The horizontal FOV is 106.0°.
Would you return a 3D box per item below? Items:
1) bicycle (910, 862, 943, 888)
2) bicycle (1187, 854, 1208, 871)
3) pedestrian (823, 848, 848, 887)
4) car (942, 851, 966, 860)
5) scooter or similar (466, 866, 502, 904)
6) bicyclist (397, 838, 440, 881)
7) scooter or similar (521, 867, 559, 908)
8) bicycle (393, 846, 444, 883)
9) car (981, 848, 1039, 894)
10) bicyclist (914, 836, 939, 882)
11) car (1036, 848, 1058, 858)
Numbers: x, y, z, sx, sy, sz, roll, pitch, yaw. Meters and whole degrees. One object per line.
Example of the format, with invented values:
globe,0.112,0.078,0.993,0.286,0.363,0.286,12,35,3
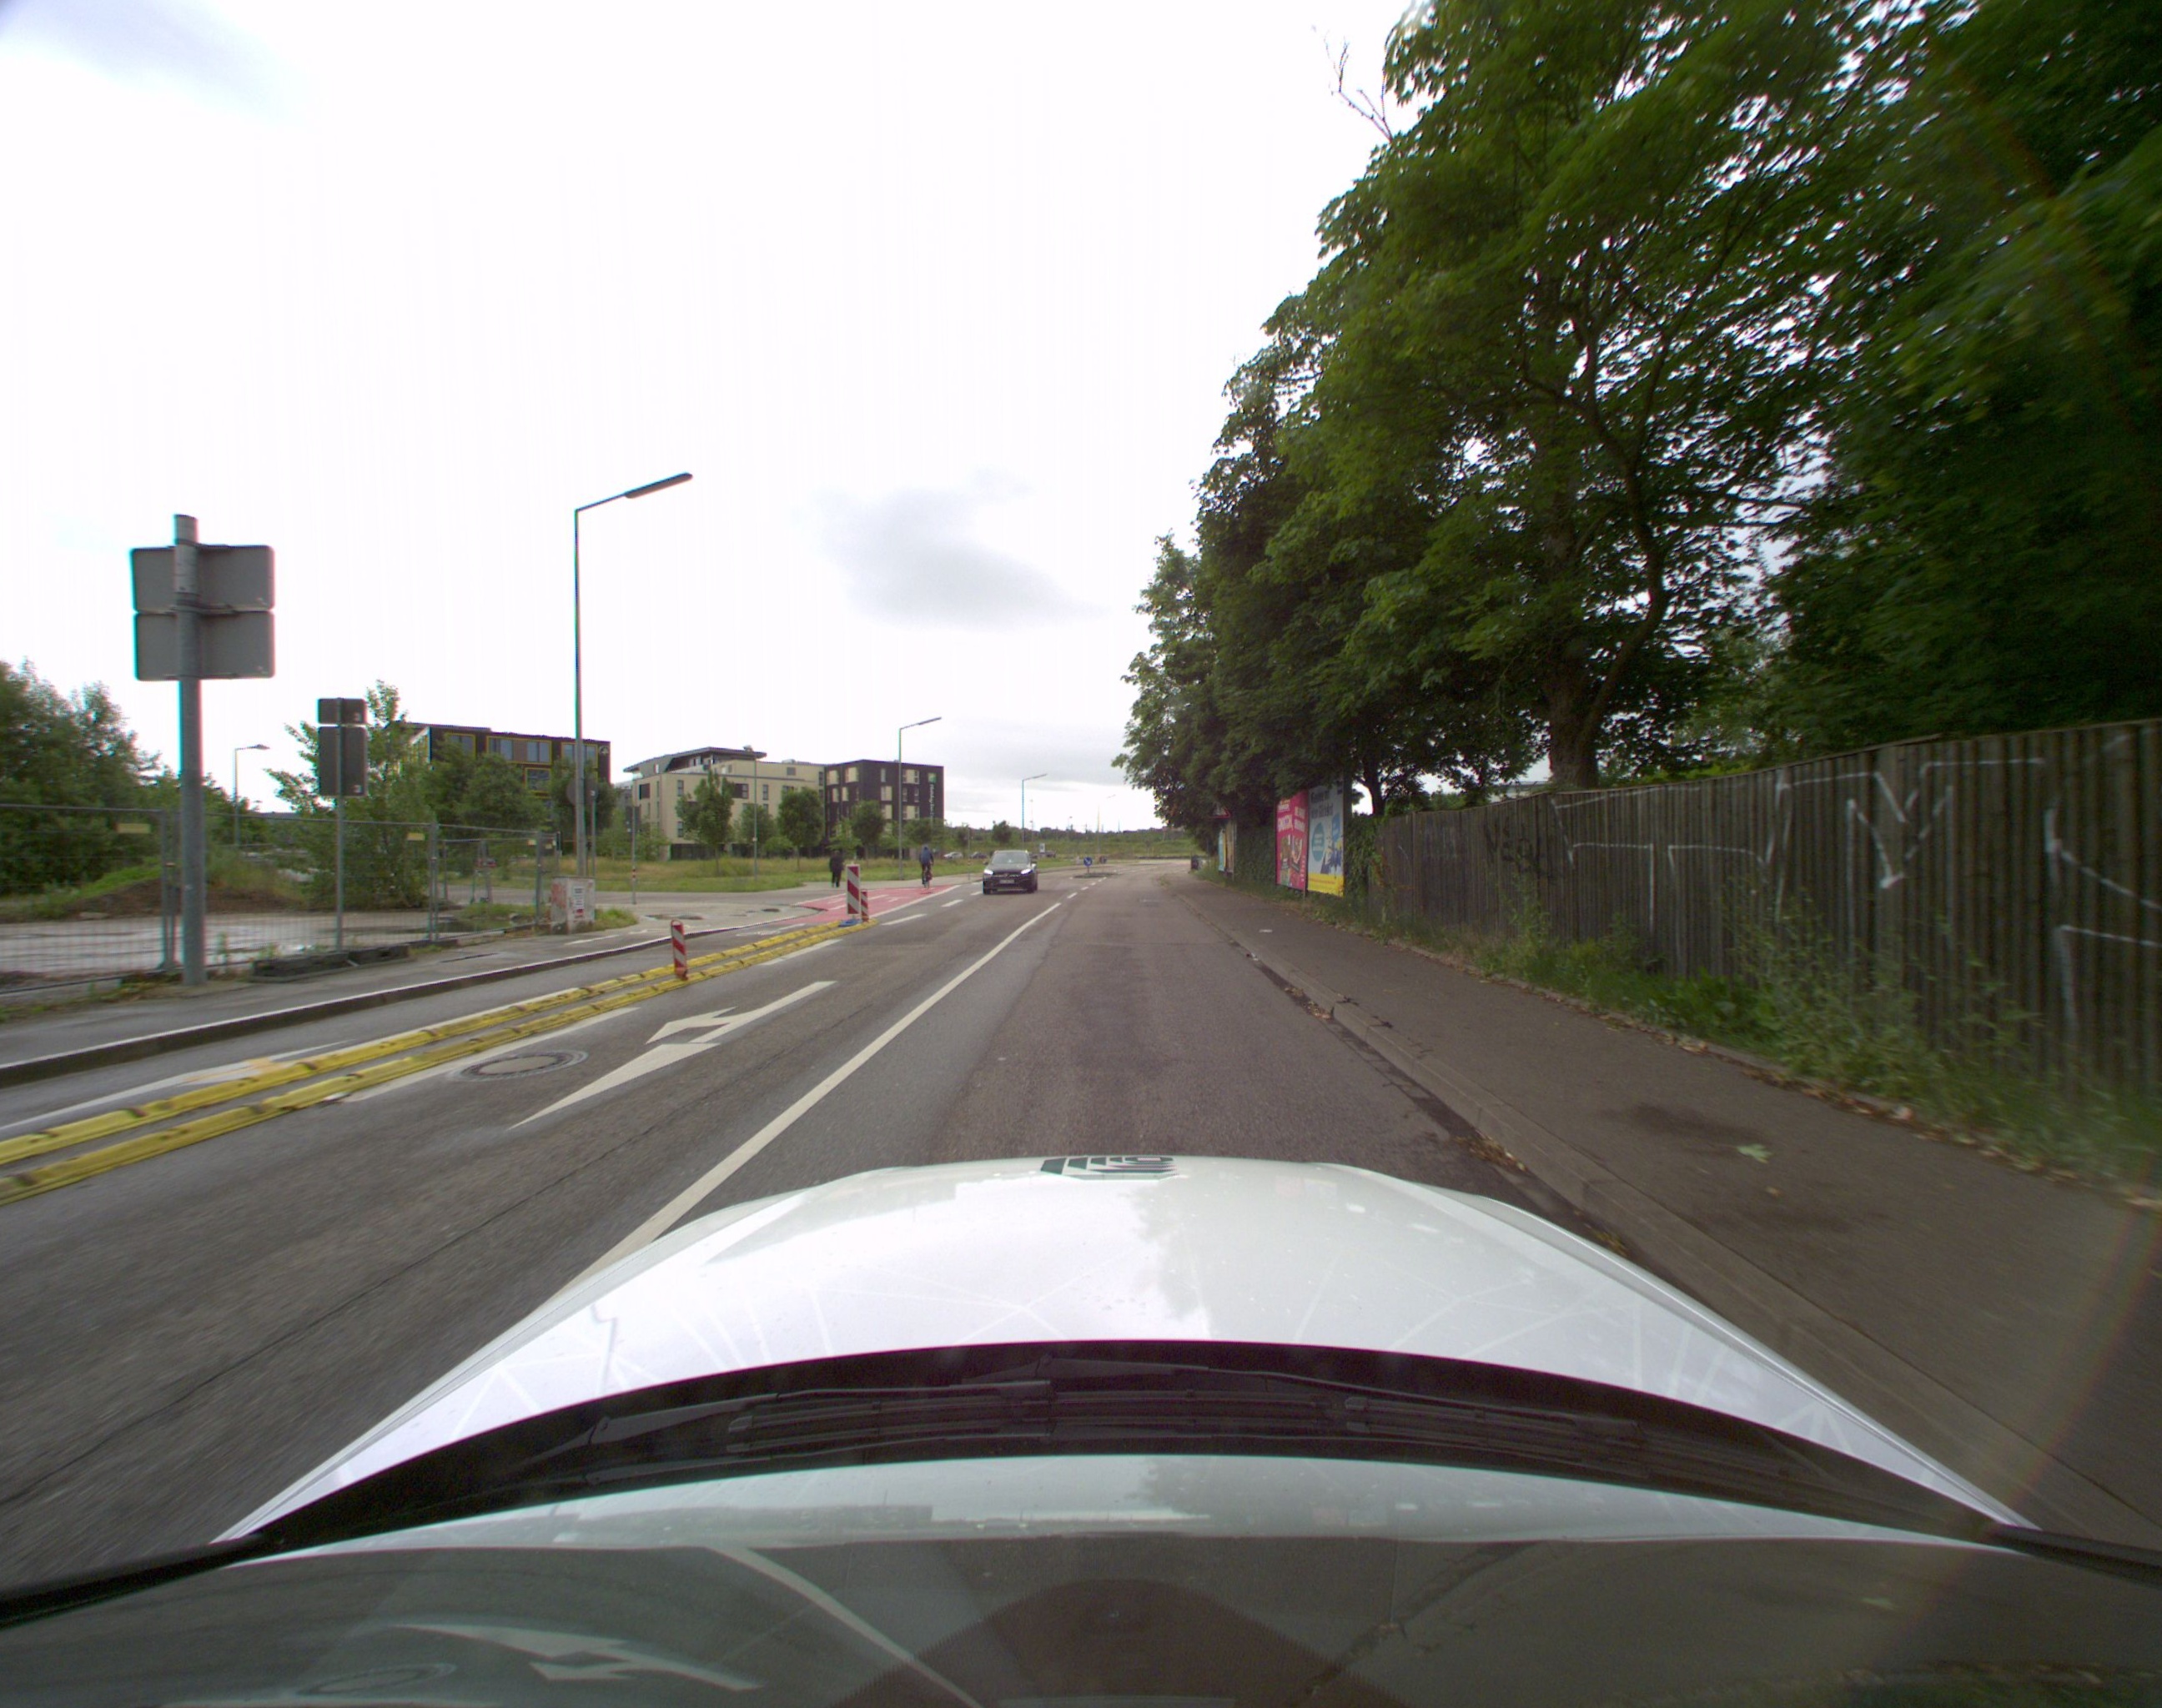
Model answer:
bicycle,-6.929,0.937,36.696,0.880,1.052,2.471,-1,1,2
bicycle,7.683,0.555,53.496,0.788,1.111,1.964,-1,0,26
pedestrian,-11.542,0.626,38.363,0.841,1.782,1.077,-1,1,-1
car,-24.229,0.265,155.417,1.974,1.517,4.180,0,1,36
scooter or similar,-18.208,0.934,24.843,1.321,1.142,0.414,0,-1,33
bicyclist,-29.729,0.236,36.547,1.384,1.899,1.084,0,1,34
scooter or similar,-15.772,0.952,23.727,0.660,1.142,1.880,1,0,-42
bicycle,-29.753,0.454,36.578,2.468,1.584,1.094,0,1,35
car,-2.586,0.579,30.751,1.875,1.566,4.356,-1,1,-1
bicyclist,-6.943,0.204,36.626,0.858,2.013,1.178,-1,1,2
car,-6.443,-0.108,152.639,3.950,1.822,2.012,0,1,45
